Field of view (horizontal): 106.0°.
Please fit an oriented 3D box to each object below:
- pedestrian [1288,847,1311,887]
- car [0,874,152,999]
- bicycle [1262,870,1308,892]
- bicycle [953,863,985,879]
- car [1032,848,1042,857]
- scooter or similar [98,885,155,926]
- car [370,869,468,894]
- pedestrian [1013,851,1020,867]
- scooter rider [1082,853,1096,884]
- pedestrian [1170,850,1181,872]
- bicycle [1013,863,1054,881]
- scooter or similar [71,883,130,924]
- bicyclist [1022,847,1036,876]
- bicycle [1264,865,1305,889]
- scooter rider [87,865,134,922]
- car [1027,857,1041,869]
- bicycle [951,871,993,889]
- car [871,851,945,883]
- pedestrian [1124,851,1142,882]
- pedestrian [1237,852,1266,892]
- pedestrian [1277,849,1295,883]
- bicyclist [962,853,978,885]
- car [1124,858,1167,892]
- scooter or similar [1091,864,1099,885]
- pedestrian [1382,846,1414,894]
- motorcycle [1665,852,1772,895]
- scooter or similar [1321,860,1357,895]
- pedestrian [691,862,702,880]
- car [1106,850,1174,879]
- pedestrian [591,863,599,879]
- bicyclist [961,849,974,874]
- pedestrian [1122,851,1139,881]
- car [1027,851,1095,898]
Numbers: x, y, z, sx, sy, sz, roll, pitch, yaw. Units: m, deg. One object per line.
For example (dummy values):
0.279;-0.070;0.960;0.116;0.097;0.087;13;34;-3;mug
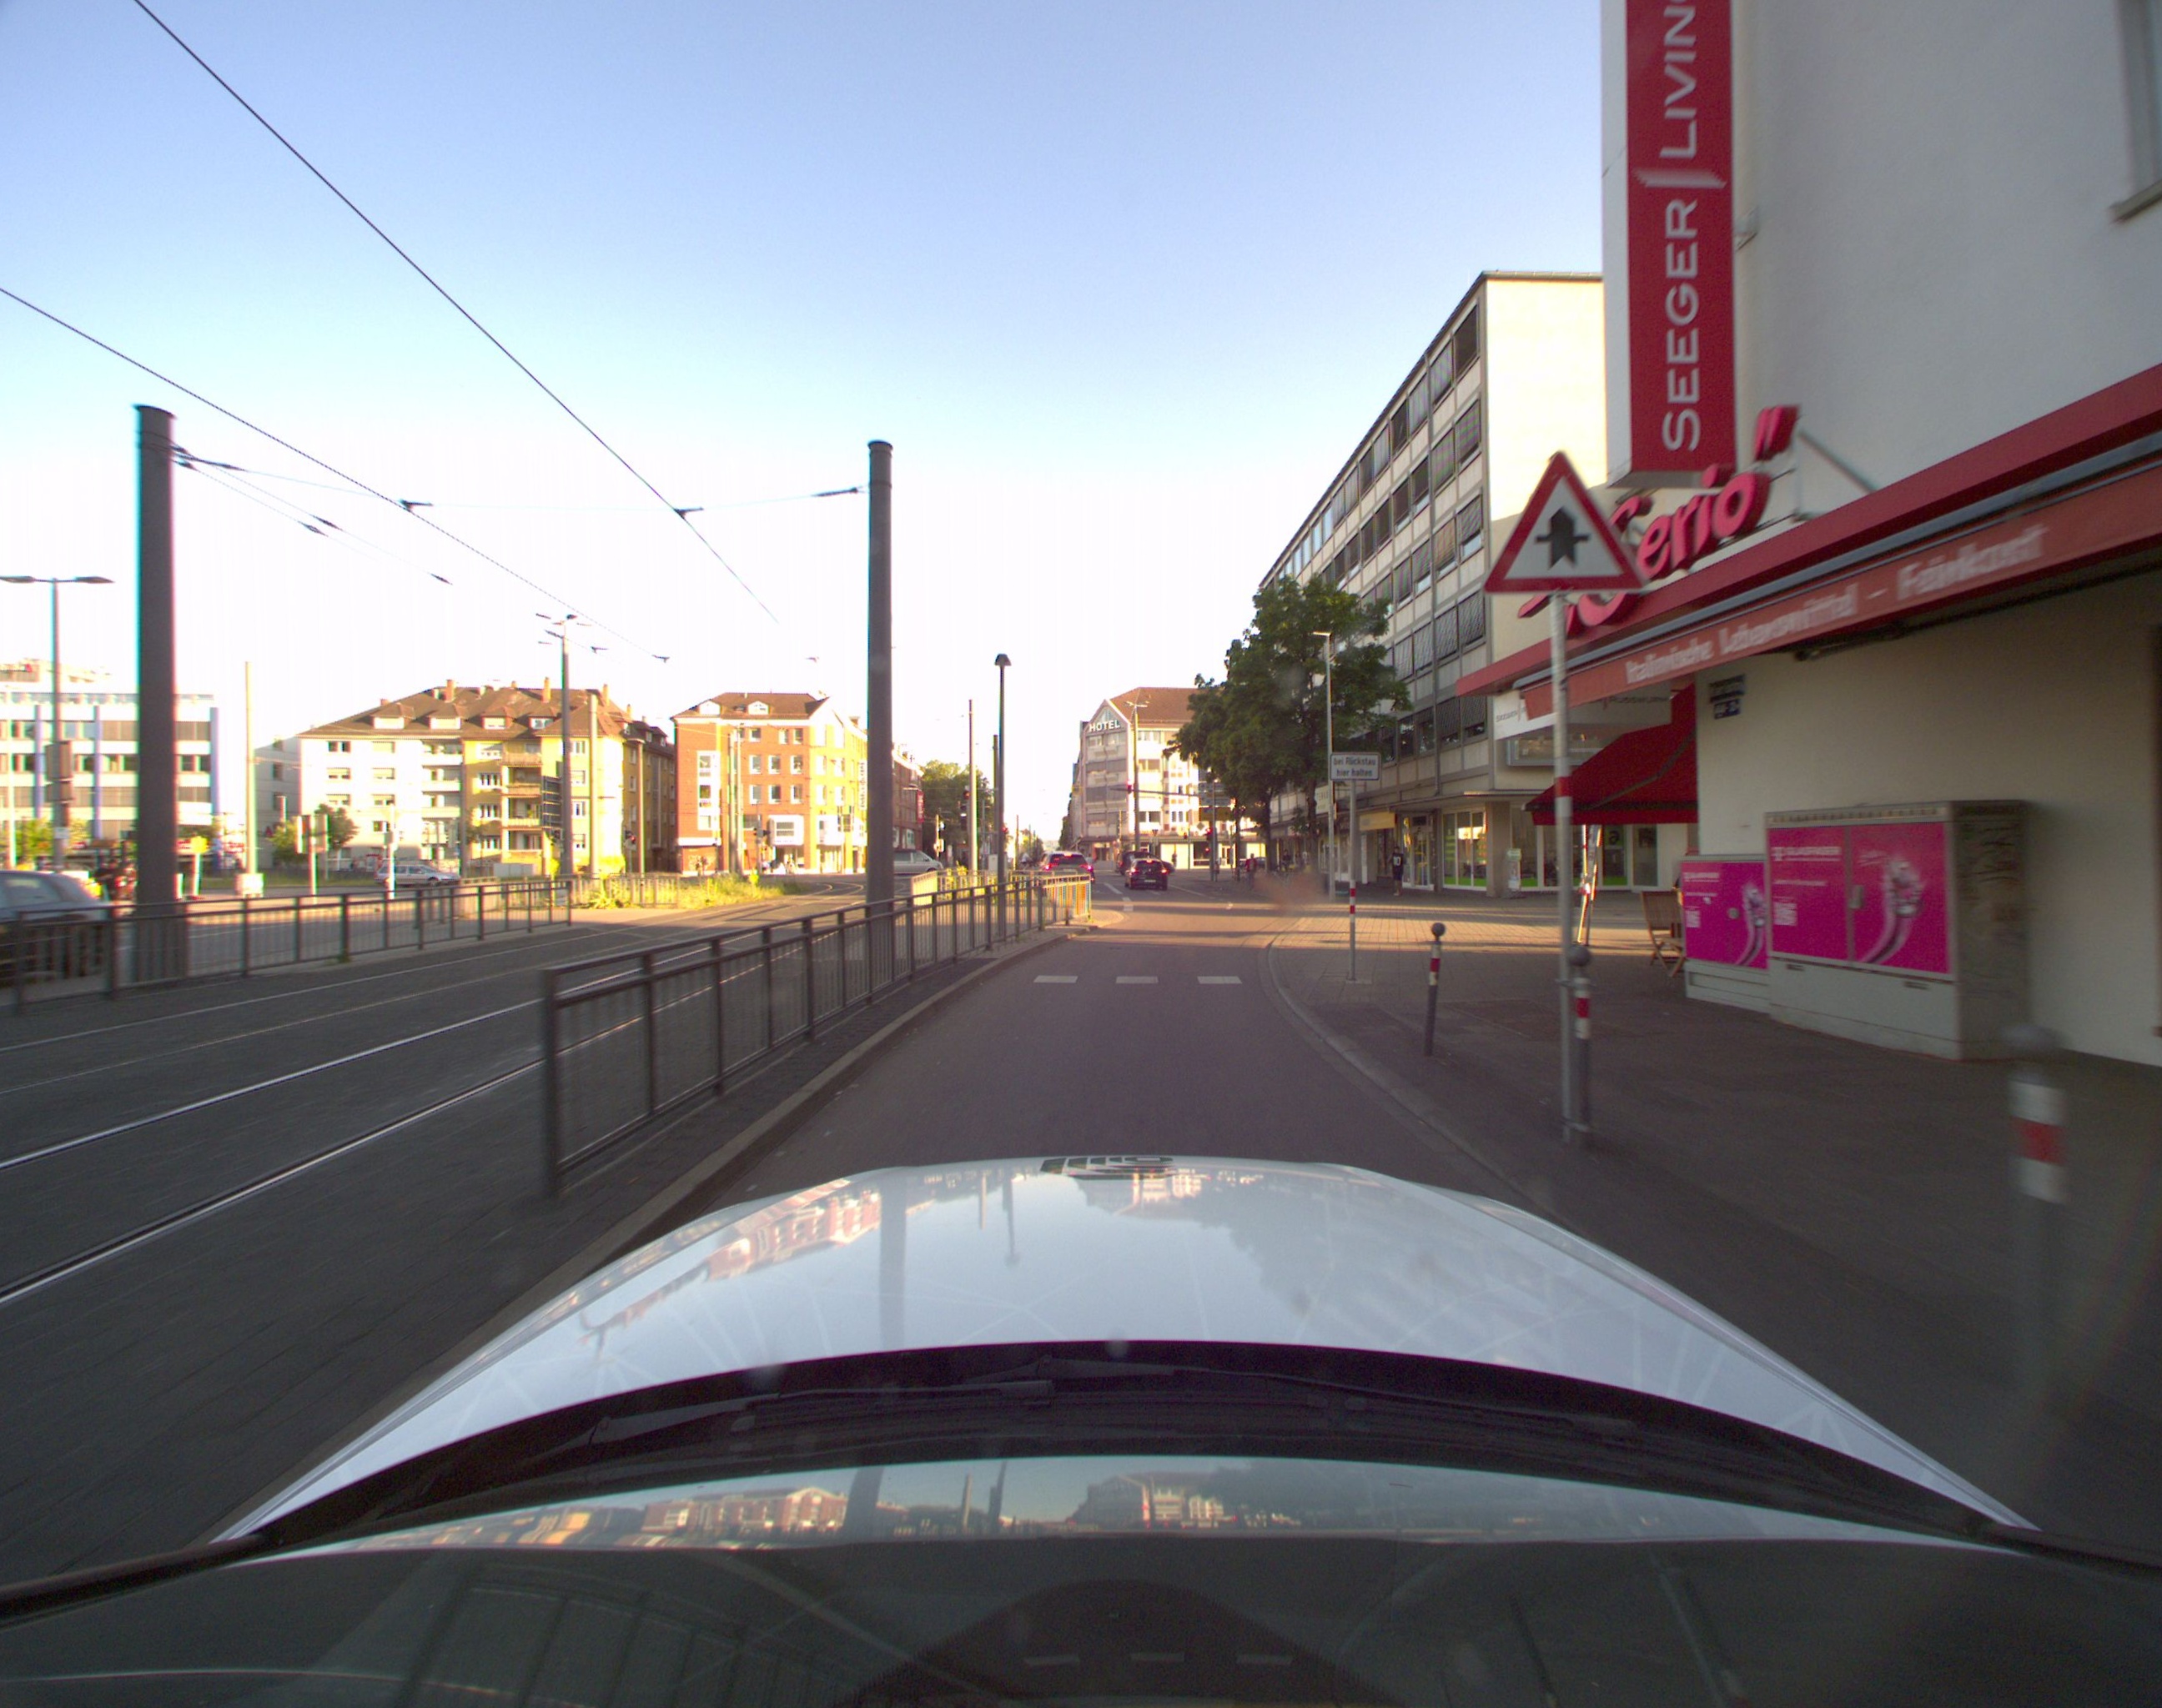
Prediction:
9.860;0.597;36.735;0.744;1.778;0.973;1;-1;-1;pedestrian
-13.079;0.956;8.997;1.771;1.376;4.197;0;0;-18;car
8.416;1.103;33.585;1.809;0.891;0.415;1;-1;5;bicycle
-7.119;1.071;51.744;2.034;1.028;0.416;0;-1;-8;bicycle
-10.011;-0.296;184.690;1.988;1.901;3.998;1;-1;-1;car
-27.274;1.443;23.295;0.428;1.082;1.610;1;-1;-26;scooter or similar
-41.795;1.718;51.491;4.337;1.551;1.993;0;-1;-10;car
-7.710;0.607;97.626;0.699;1.823;0.808;1;-1;-1;pedestrian
0.439;0.771;43.202;0.658;1.647;0.662;1;-1;6;scooter rider
7.799;0.605;67.235;0.744;1.778;0.800;1;-1;0;pedestrian
-3.097;1.176;53.366;2.638;1.100;0.434;1;-1;-8;bicycle
-27.782;1.388;23.095;0.428;1.063;1.610;1;-1;-26;scooter or similar
-3.412;0.493;53.290;0.860;1.878;0.644;1;-1;-9;bicyclist
8.631;0.986;34.547;1.649;0.974;0.387;1;-1;5;bicycle
-27.931;1.121;23.443;0.587;1.593;0.653;1;-1;-23;scooter rider
-6.778;1.294;118.329;1.806;1.746;3.713;1;-1;-1;car
-7.020;1.676;52.544;2.650;1.100;0.432;1;-1;-22;bicycle
-11.655;0.853;54.892;4.696;2.013;1.988;-1;0;-18;car
3.132;0.753;49.115;0.992;1.830;0.728;1;-1;-2;pedestrian
7.323;0.777;35.029;0.825;1.685;1.043;1;-1;-16;pedestrian
10.911;0.647;43.373;0.744;1.778;0.799;1;-1;-2;pedestrian
-7.133;0.970;52.521;0.863;2.014;0.642;1;-1;-21;bicyclist
2.978;0.937;38.294;1.758;1.440;4.001;-1;0;1;car
0.747;1.070;43.268;0.278;1.091;1.258;1;-1;5;scooter or similar
11.185;0.562;28.753;0.744;1.684;0.894;1;-1;-1;pedestrian
18.158;0.553;23.265;2.268;1.168;0.814;-1;-1;20;motorcycle
9.188;0.836;29.017;1.205;1.218;0.296;-3;-3;44;scooter or similar
-37.250;1.635;78.887;0.682;1.743;0.671;-1;-2;21;pedestrian
4.250;0.759;59.145;4.567;2.037;1.990;-1;0;-14;car
-50.101;1.743;83.926;0.549;1.642;0.500;1;-1;-4;pedestrian
-7.206;0.478;51.726;0.706;1.511;0.546;-3;0;-19;bicyclist
3.044;0.727;49.897;0.991;1.830;0.728;1;-1;-1;pedestrian
-0.835;0.732;30.797;1.837;1.636;4.073;0;0;-13;car
